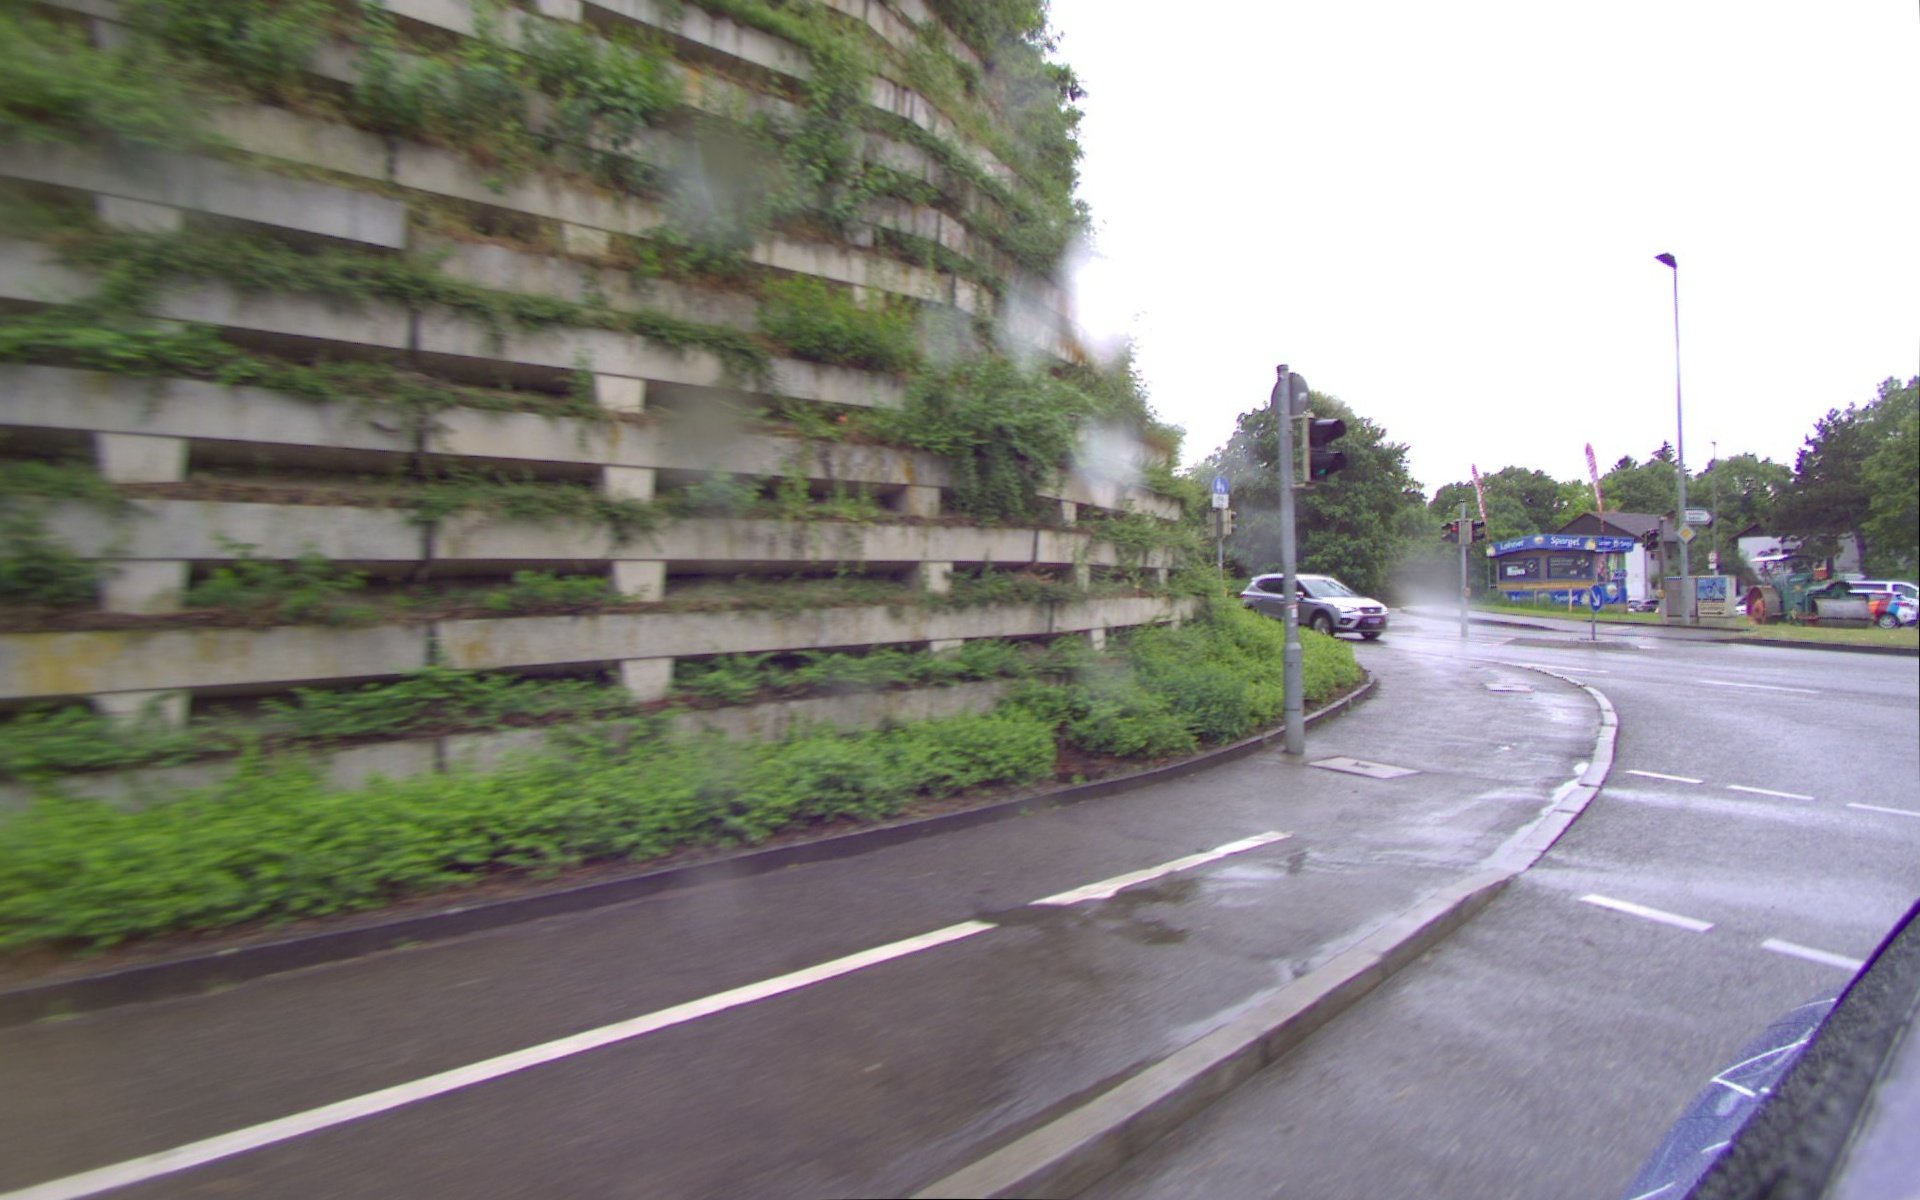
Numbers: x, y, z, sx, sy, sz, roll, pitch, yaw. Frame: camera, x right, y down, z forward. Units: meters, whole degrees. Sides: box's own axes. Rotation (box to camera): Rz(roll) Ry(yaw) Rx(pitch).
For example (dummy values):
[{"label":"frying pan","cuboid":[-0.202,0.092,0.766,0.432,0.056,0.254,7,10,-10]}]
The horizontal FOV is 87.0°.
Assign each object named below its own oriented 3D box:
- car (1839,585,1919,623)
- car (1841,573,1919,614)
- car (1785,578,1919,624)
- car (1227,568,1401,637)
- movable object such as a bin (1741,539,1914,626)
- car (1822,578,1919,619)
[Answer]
[{"label":"car","cuboid":[39.808,0.164,42.873,1.563,1.530,3.626,0,2,-38]},{"label":"car","cuboid":[43.419,-0.277,46.311,1.886,1.787,4.388,0,2,-38]},{"label":"car","cuboid":[34.082,-0.002,38.419,1.640,1.593,3.997,0,2,-39]},{"label":"car","cuboid":[8.626,0.000,25.071,1.647,1.526,4.163,1,2,-24]},{"label":"movable object such as a bin","cuboid":[29.747,-0.590,35.005,2.279,2.720,5.675,1,0,15]},{"label":"car","cuboid":[37.893,-0.079,41.431,1.563,1.593,3.709,0,2,-38]}]
